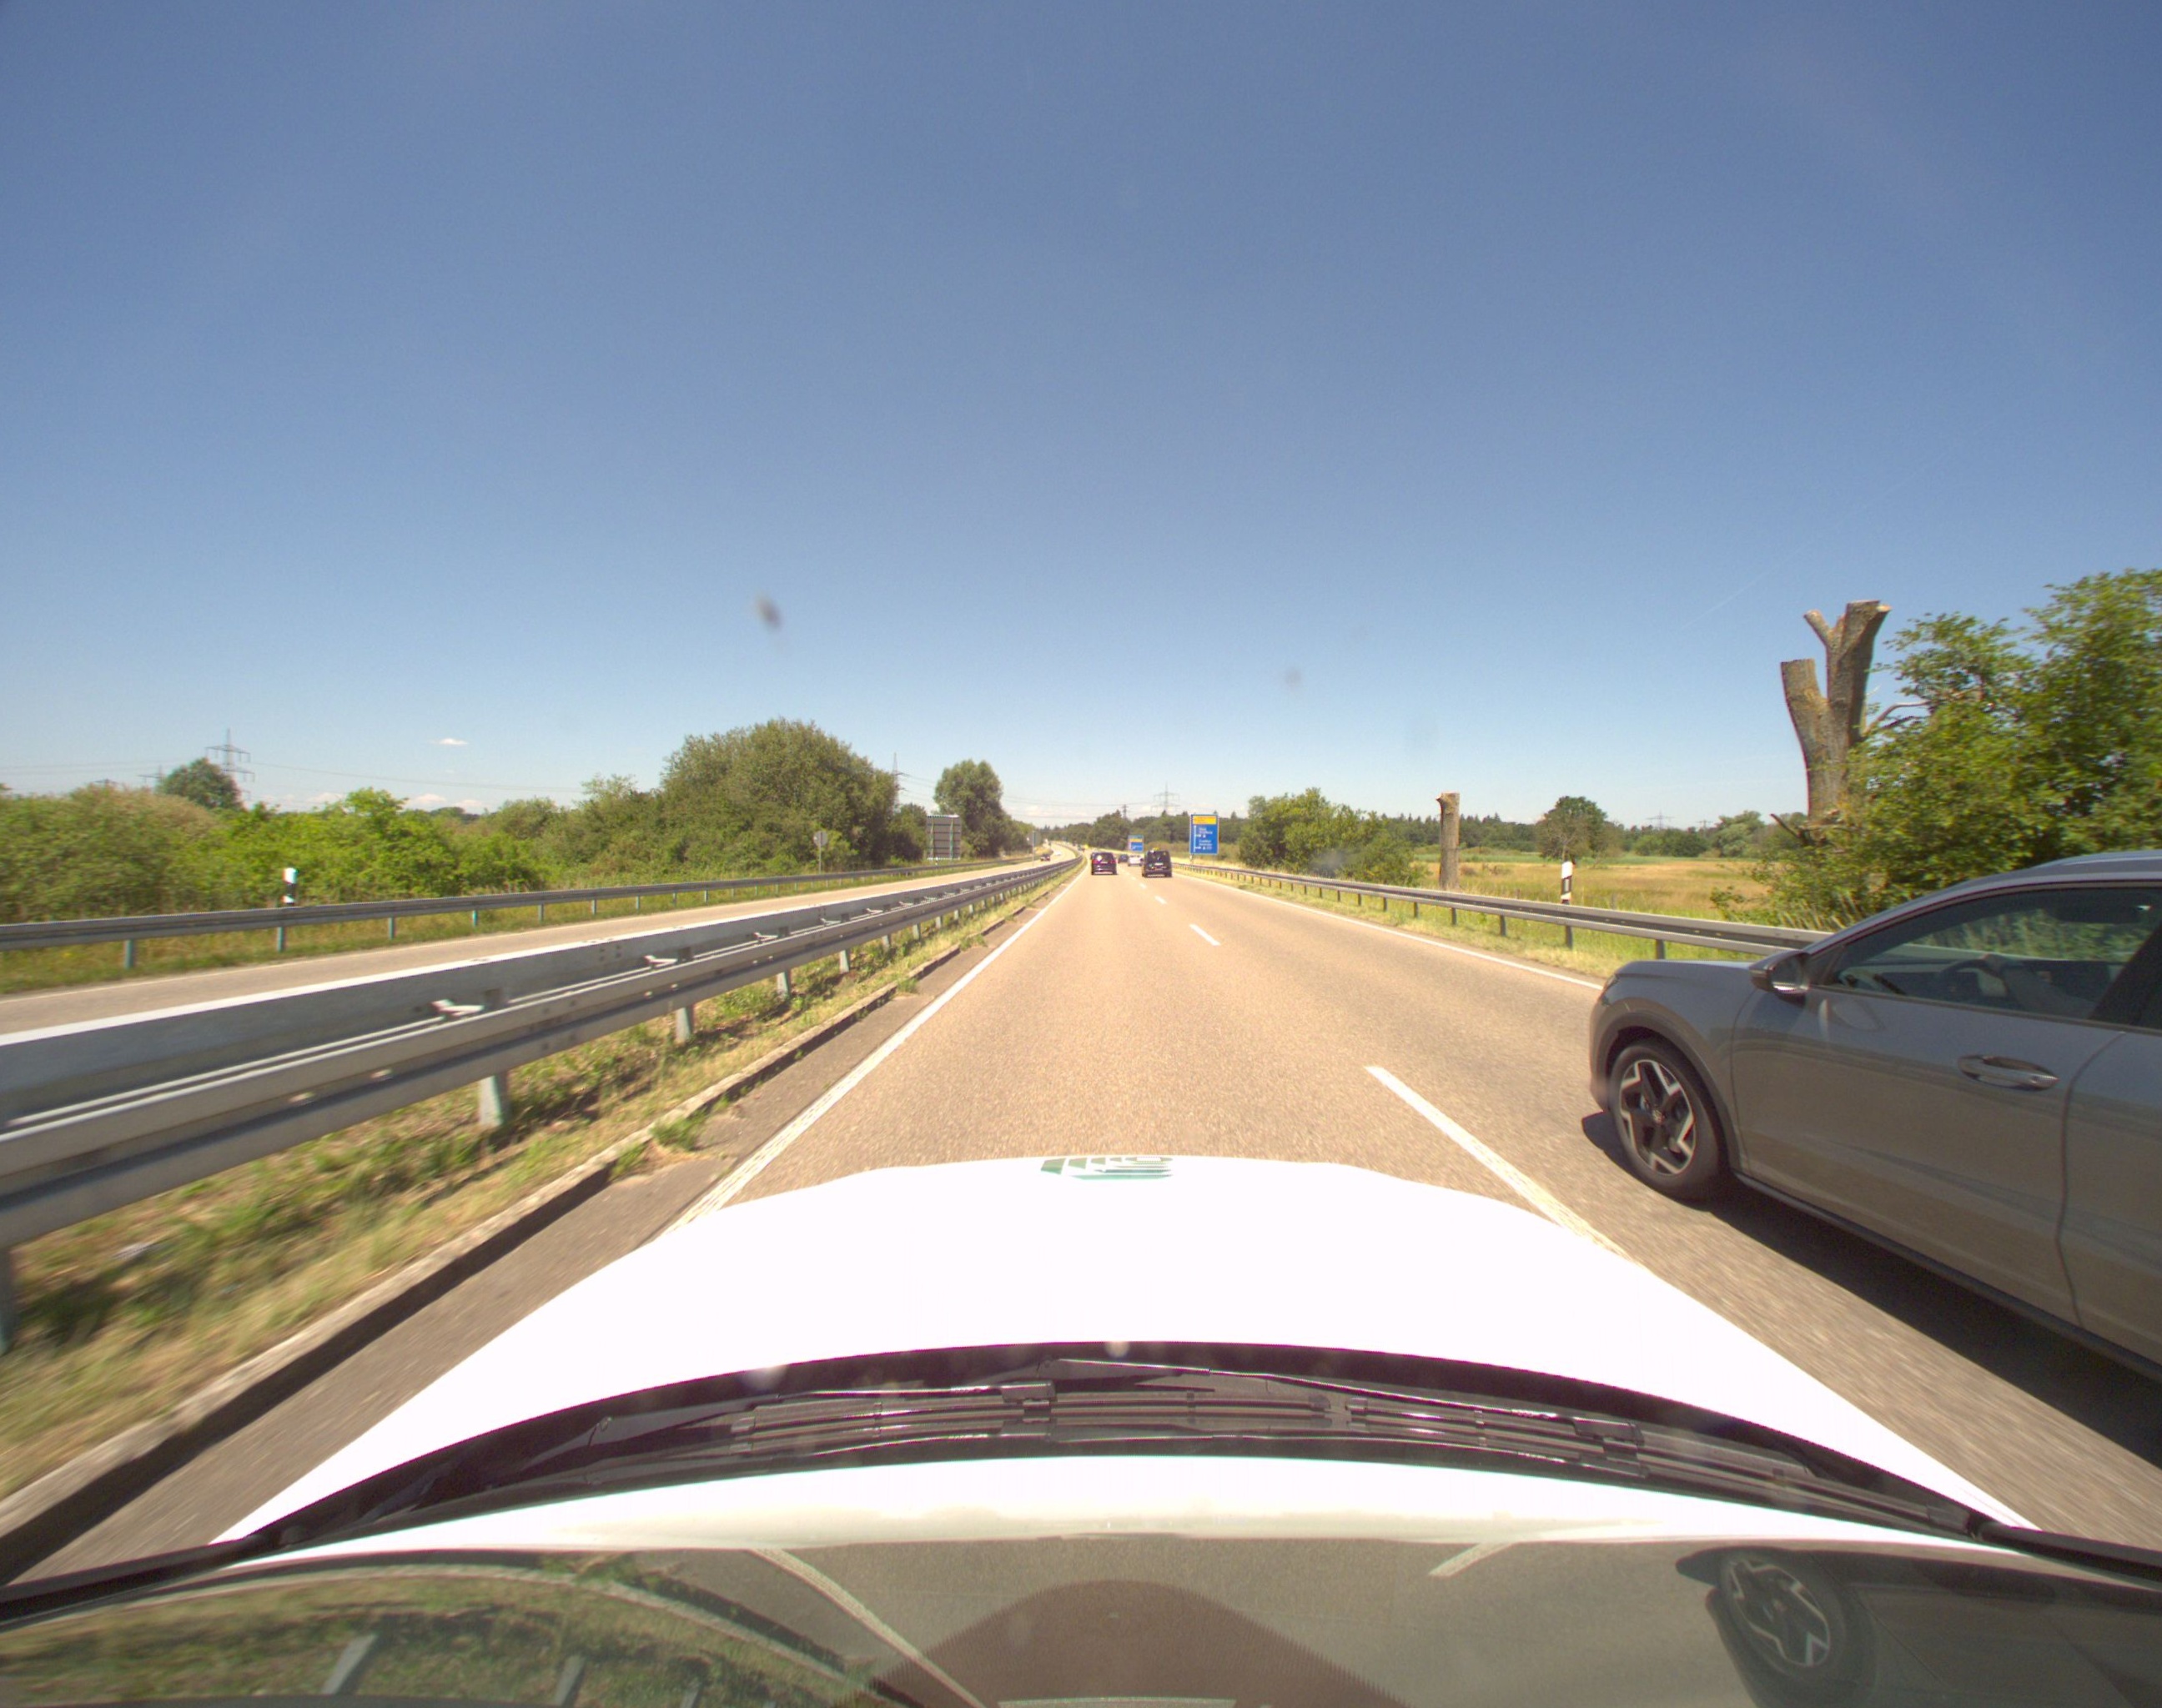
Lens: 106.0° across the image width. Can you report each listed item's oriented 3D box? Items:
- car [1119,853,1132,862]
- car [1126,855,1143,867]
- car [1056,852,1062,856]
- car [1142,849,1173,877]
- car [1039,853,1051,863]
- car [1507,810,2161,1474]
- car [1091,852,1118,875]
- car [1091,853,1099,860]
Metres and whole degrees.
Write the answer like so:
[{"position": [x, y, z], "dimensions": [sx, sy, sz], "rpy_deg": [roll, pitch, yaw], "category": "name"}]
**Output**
[{"position": [6.667, 0.524, 122.268], "dimensions": [1.813, 1.414, 4.001], "rpy_deg": [0, 0, 1], "category": "car"}, {"position": [6.436, 0.826, 98.926], "dimensions": [1.773, 1.479, 4.315], "rpy_deg": [0, 0, 0], "category": "car"}, {"position": [-6.791, -0.014, 254.311], "dimensions": [1.821, 1.497, 4.102], "rpy_deg": [1, 0, 0], "category": "car"}, {"position": [5.083, 0.588, 54.472], "dimensions": [1.773, 1.817, 4.214], "rpy_deg": [0, 0, 2], "category": "car"}, {"position": [-7.014, 0.760, 158.018], "dimensions": [1.986, 1.637, 4.875], "rpy_deg": [3, 0, 1], "category": "car"}, {"position": [3.420, 0.653, 2.865], "dimensions": [1.779, 1.553, 4.020], "rpy_deg": [-1, 0, 1], "category": "car"}, {"position": [1.751, 0.690, 61.798], "dimensions": [1.987, 1.654, 4.000], "rpy_deg": [0, 0, 0], "category": "car"}, {"position": [3.088, 0.519, 179.514], "dimensions": [1.510, 1.475, 3.066], "rpy_deg": [3, 0, 0], "category": "car"}]
